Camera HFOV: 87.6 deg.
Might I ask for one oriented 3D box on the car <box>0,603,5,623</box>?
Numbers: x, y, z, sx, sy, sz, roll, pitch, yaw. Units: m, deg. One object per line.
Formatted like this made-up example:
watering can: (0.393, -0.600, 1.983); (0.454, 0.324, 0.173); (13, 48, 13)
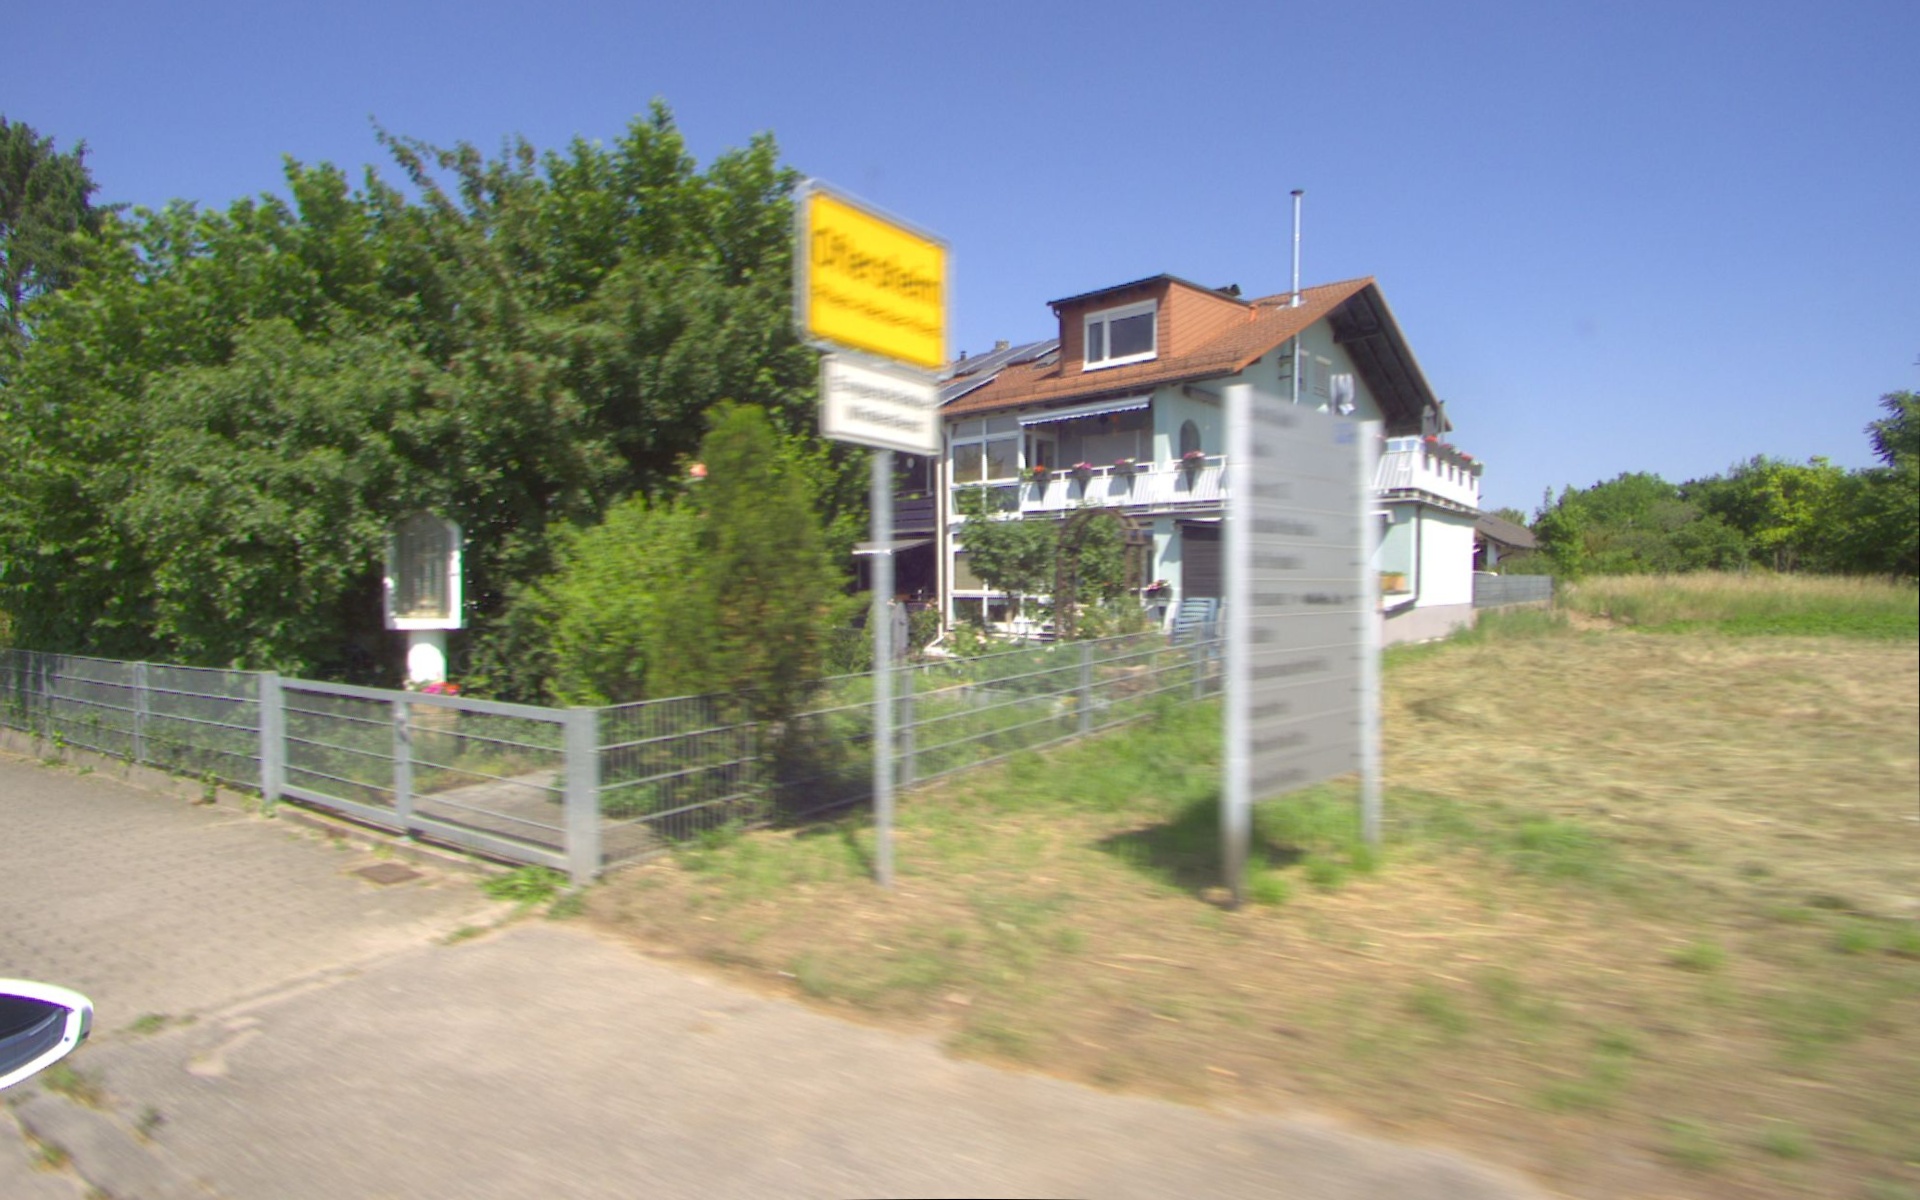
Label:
car: (-63.818, 0.813, 63.939); (1.656, 1.311, 3.811); (0, -1, 25)
